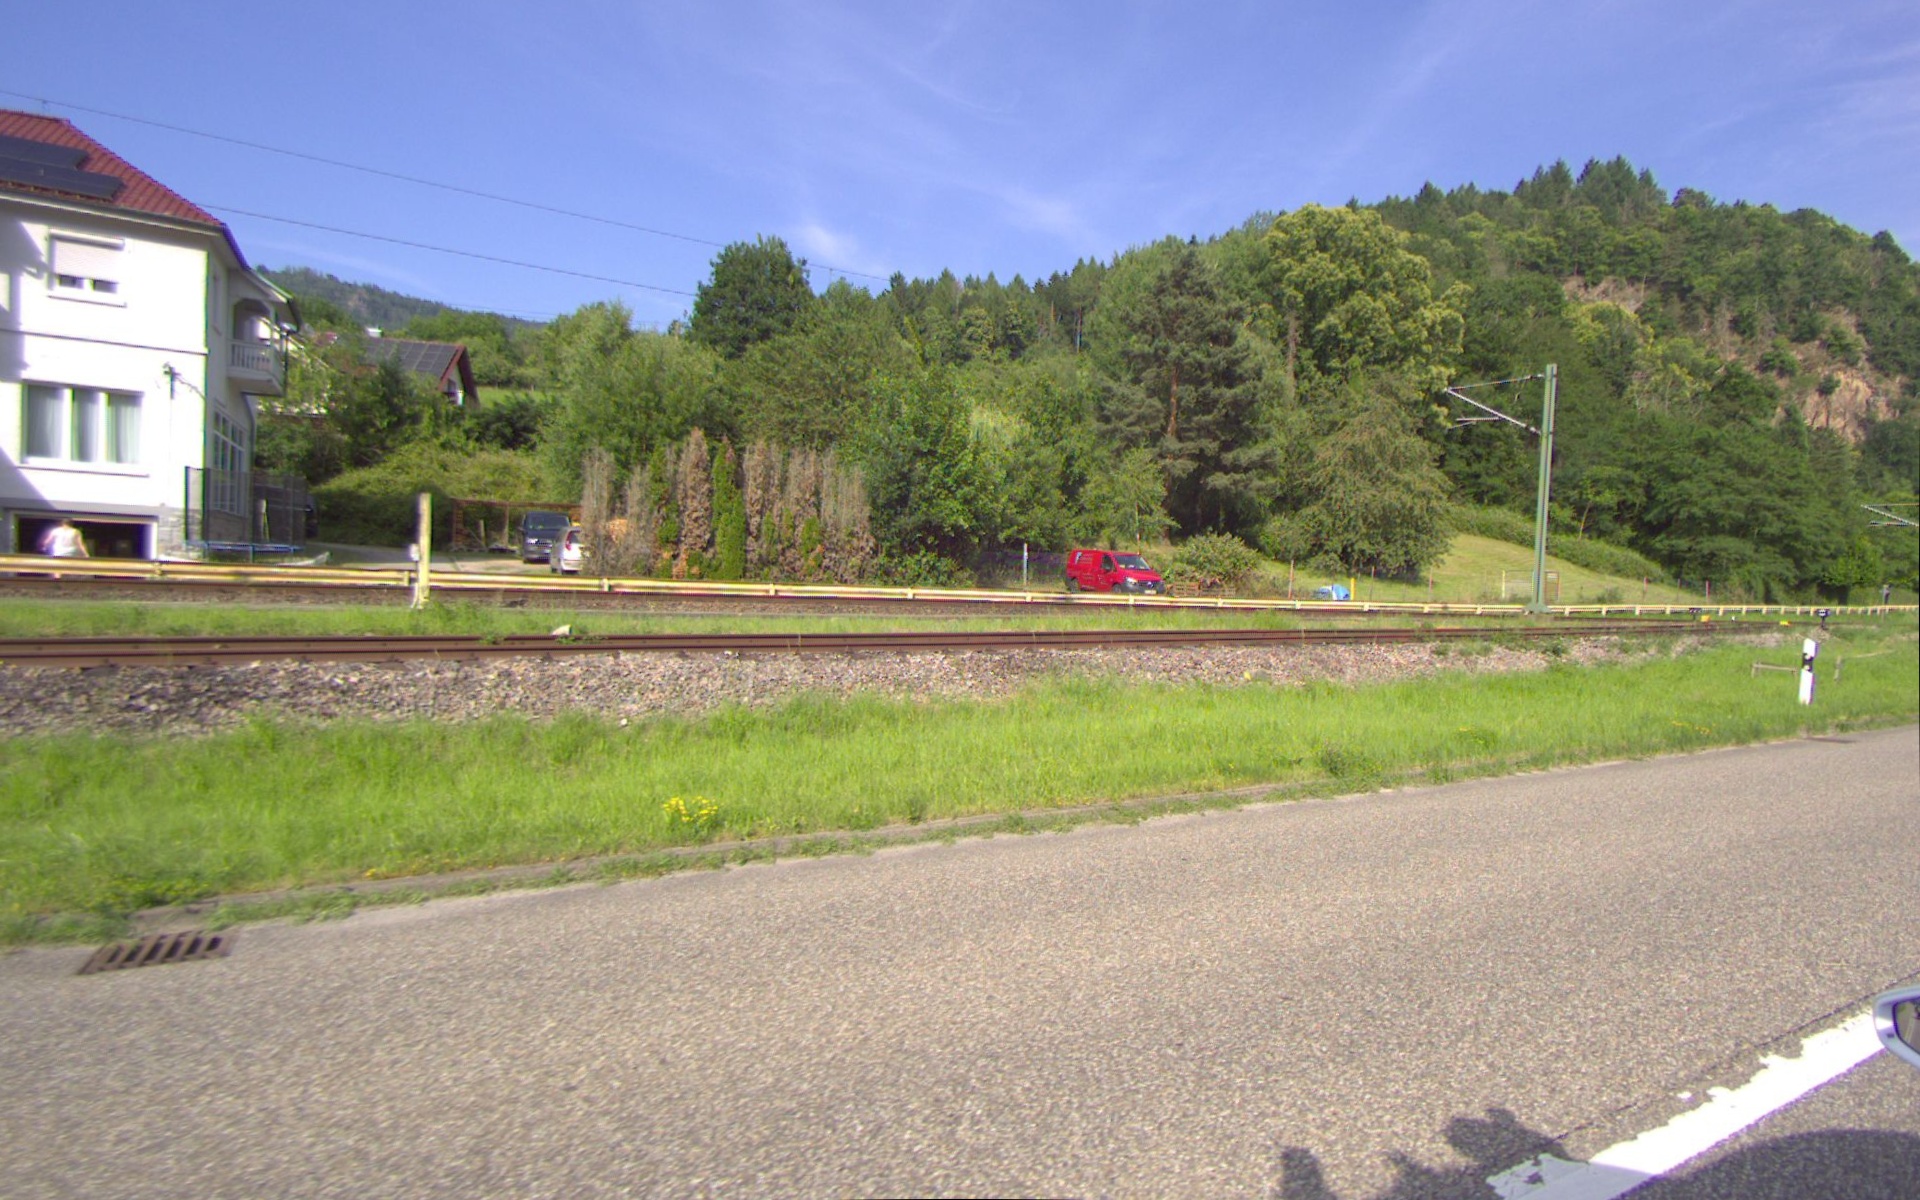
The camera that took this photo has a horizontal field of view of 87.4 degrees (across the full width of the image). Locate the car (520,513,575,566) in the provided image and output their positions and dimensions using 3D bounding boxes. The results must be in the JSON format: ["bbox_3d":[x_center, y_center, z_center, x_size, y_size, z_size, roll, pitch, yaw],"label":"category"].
[{"bbox_3d":[-15.644,-2.333,37.993,1.794,1.814,3.976,2,4,-24],"label":"car"}]

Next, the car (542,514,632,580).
[{"bbox_3d":[-11.062,-1.532,29.640,1.975,1.714,4.128,2,1,-27],"label":"car"}]

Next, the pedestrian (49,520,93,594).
[{"bbox_3d":[-20.429,-0.982,23.095,0.601,1.638,0.672,1,2,-29],"label":"pedestrian"}]

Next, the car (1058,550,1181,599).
[{"bbox_3d":[6.196,-1.012,39.597,2.422,1.714,4.949,2,1,-25],"label":"car"}]

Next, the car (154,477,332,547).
[{"bbox_3d":[-25.596,-3.084,36.123,4.870,1.886,2.215,5,0,-30],"label":"car"}]
